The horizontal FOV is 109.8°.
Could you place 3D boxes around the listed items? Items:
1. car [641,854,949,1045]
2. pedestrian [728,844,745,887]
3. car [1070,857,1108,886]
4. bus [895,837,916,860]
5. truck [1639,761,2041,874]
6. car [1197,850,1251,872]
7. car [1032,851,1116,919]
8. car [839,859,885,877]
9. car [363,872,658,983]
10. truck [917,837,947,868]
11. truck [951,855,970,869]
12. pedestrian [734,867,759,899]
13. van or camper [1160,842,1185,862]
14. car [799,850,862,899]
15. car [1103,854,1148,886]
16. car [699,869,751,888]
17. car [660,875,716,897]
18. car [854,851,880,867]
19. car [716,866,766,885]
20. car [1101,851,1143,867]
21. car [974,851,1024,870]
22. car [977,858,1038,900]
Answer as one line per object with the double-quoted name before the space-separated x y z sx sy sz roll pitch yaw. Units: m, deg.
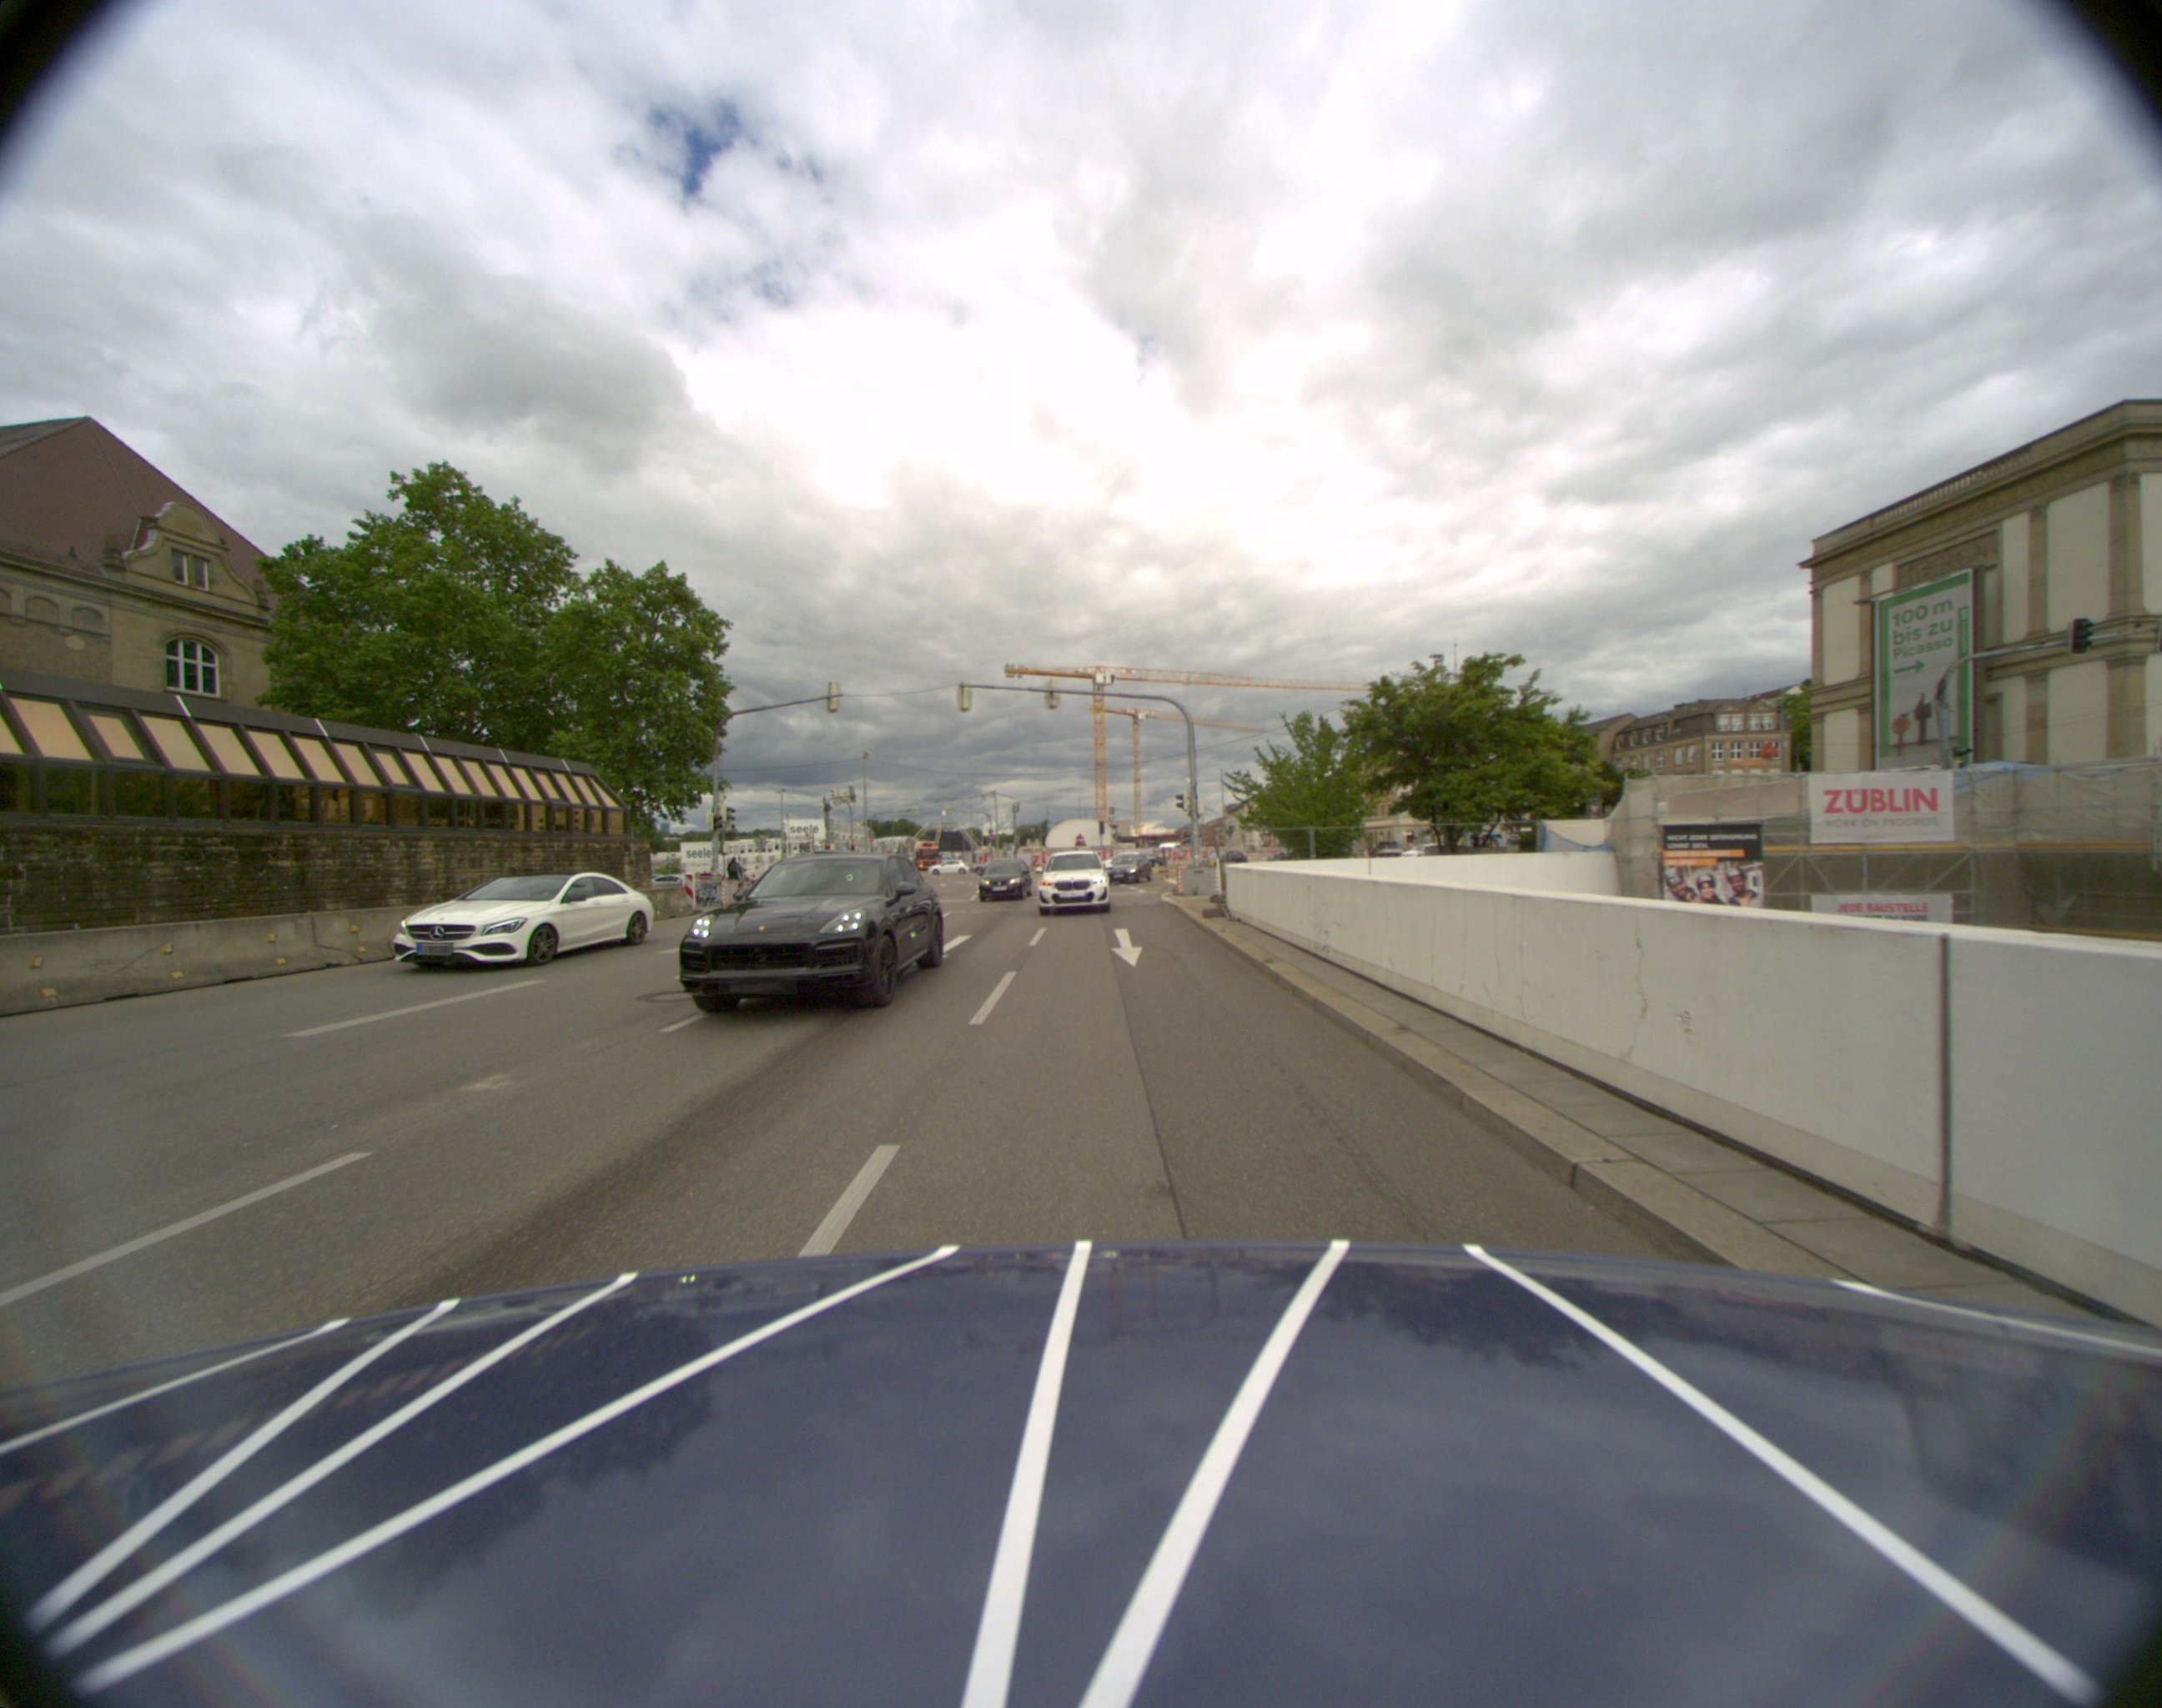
"car" -3.041 0.880 9.328 1.956 1.638 4.607 -2 1 0
"pedestrian" -16.449 0.528 36.251 0.623 2.002 0.849 -3 1 -26
"car" 0.469 0.921 41.267 1.576 1.411 3.573 0 1 9
"bus" -26.726 -0.779 116.124 2.814 3.150 9.394 -1 -1 -11
"truck" 33.376 -1.306 35.620 2.924 4.059 16.617 0 0 3
"car" 10.573 0.489 56.057 4.113 1.412 1.872 -3 0 -45
"car" -0.083 0.753 20.287 1.811 1.595 3.714 -1 0 6
"car" -21.040 1.320 73.016 3.954 1.564 1.692 -2 -3 -7
"car" -9.063 1.065 12.647 1.739 1.427 4.380 1 0 -2
"truck" -18.482 -0.169 93.869 2.912 3.654 9.014 -1 1 -15
"truck" -14.634 0.978 92.142 1.827 1.531 3.756 -1 0 -14
"pedestrian" -21.356 1.839 48.478 1.206 2.002 1.191 -2 1 -36
"van or camper" 11.179 -0.295 92.234 1.995 2.215 4.005 -1 2 22
"car" -10.330 0.822 31.568 1.939 1.926 3.670 1 -1 -10
"car" 2.335 0.788 38.885 1.851 1.412 4.107 -3 0 8
"car" -29.488 2.017 62.921 3.443 1.427 1.691 -2 2 4
"car" -30.900 2.503 59.786 3.444 1.427 1.665 -3 2 2
"car" -29.158 0.695 103.756 1.997 2.001 4.167 -1 -1 7
"car" -29.464 1.826 65.861 3.443 1.427 1.694 -2 2 4
"car" 4.154 0.477 77.292 4.068 1.564 1.693 -1 -1 -1
"car" -7.890 0.616 73.609 4.681 1.569 1.910 -3 1 -4
"car" -2.753 0.897 29.267 1.732 1.461 4.419 0 1 3
